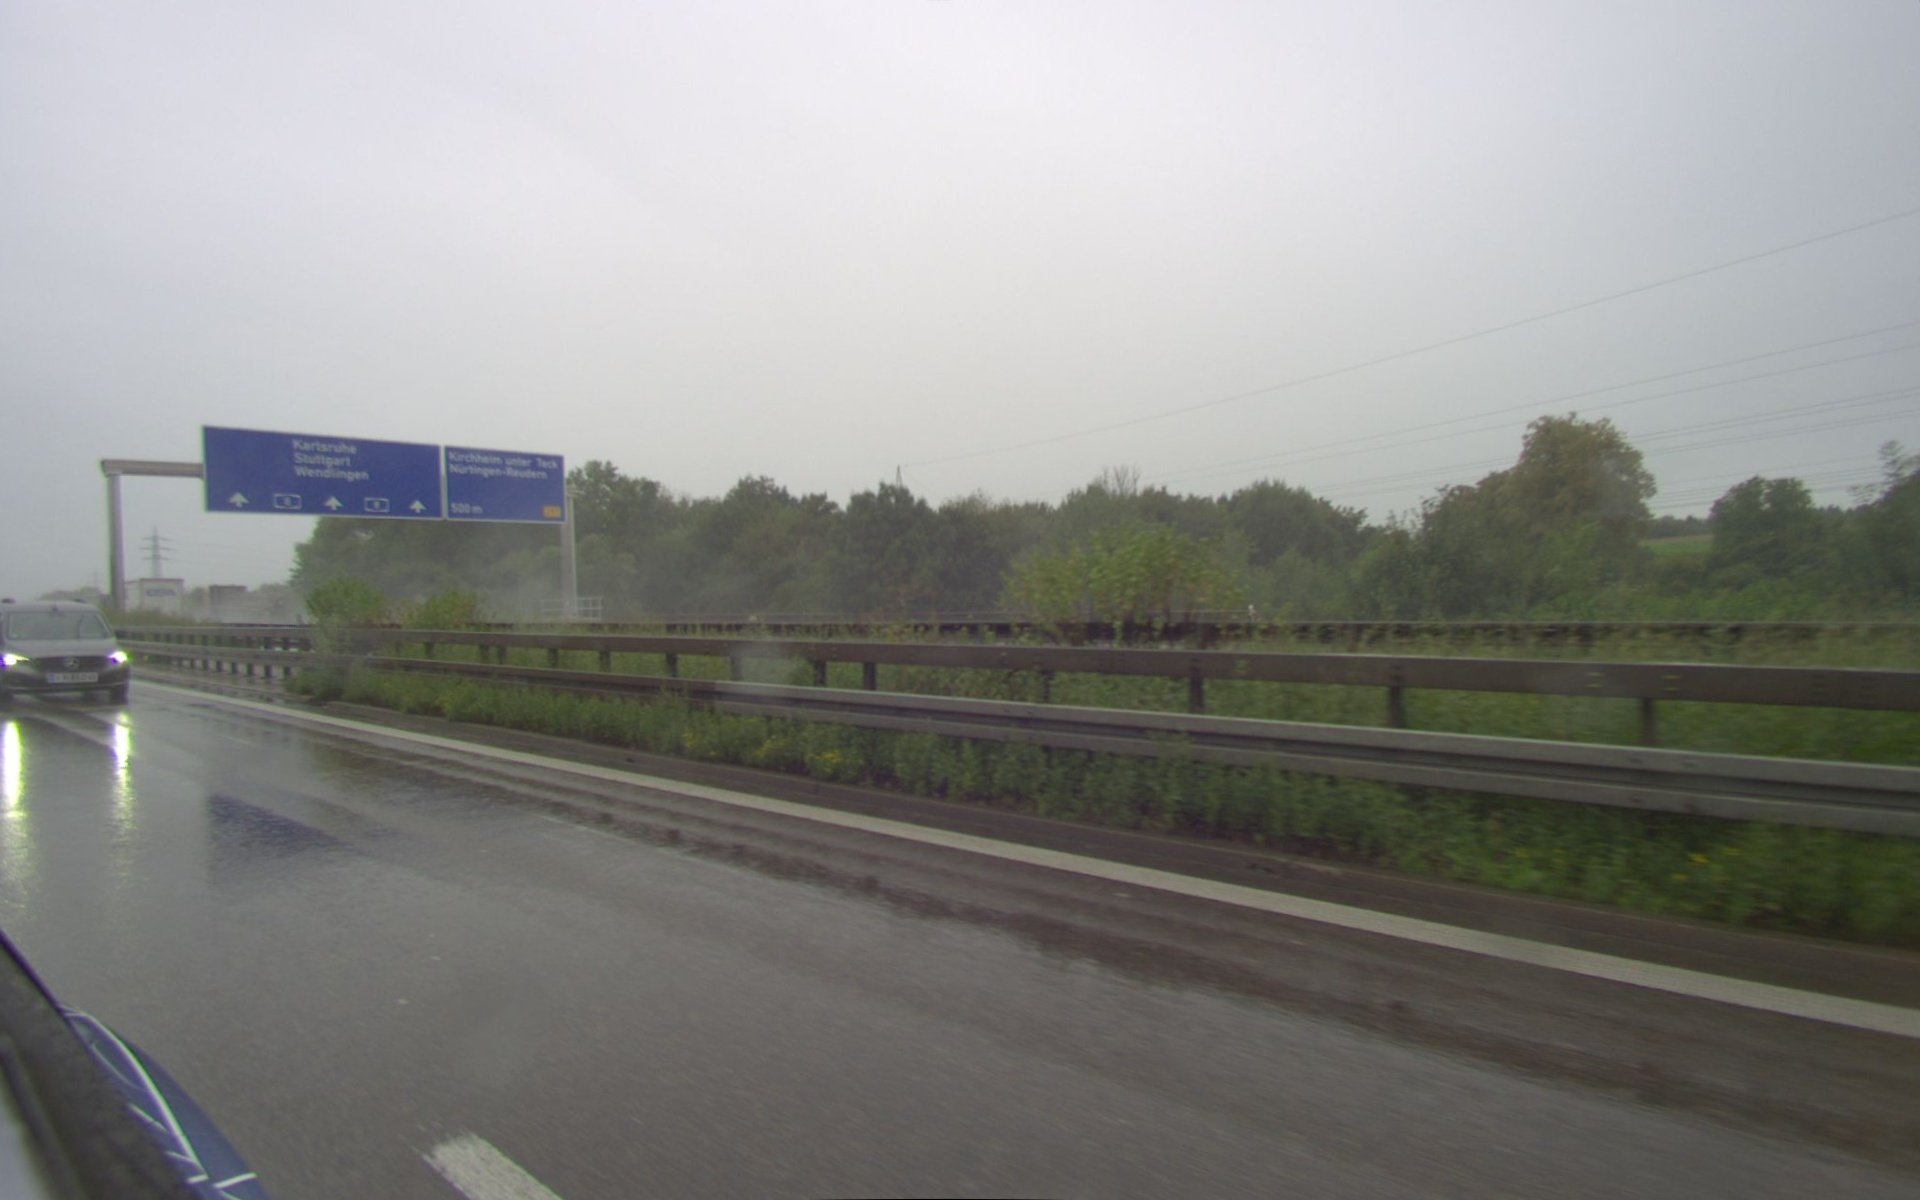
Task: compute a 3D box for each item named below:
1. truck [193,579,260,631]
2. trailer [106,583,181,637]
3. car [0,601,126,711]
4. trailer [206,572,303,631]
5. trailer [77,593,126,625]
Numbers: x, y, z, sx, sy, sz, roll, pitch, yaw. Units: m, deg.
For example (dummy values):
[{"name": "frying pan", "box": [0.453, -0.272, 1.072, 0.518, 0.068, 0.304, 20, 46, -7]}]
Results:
[{"name": "truck", "box": [-57.405, 0.442, 79.185, 6.509, 3.748, 2.877, -2, 2, 43]}, {"name": "trailer", "box": [-63.337, 0.859, 78.310, 13.927, 3.749, 2.308, -2, 2, 43]}, {"name": "car", "box": [-16.786, 0.968, 18.572, 2.018, 1.787, 4.505, 0, -2, -43]}, {"name": "trailer", "box": [-51.282, 0.234, 73.354, 13.541, 3.784, 2.894, -2, 2, 43]}, {"name": "trailer", "box": [-103.762, 1.129, 122.220, 13.444, 3.433, 2.645, -2, 0, 42]}]
